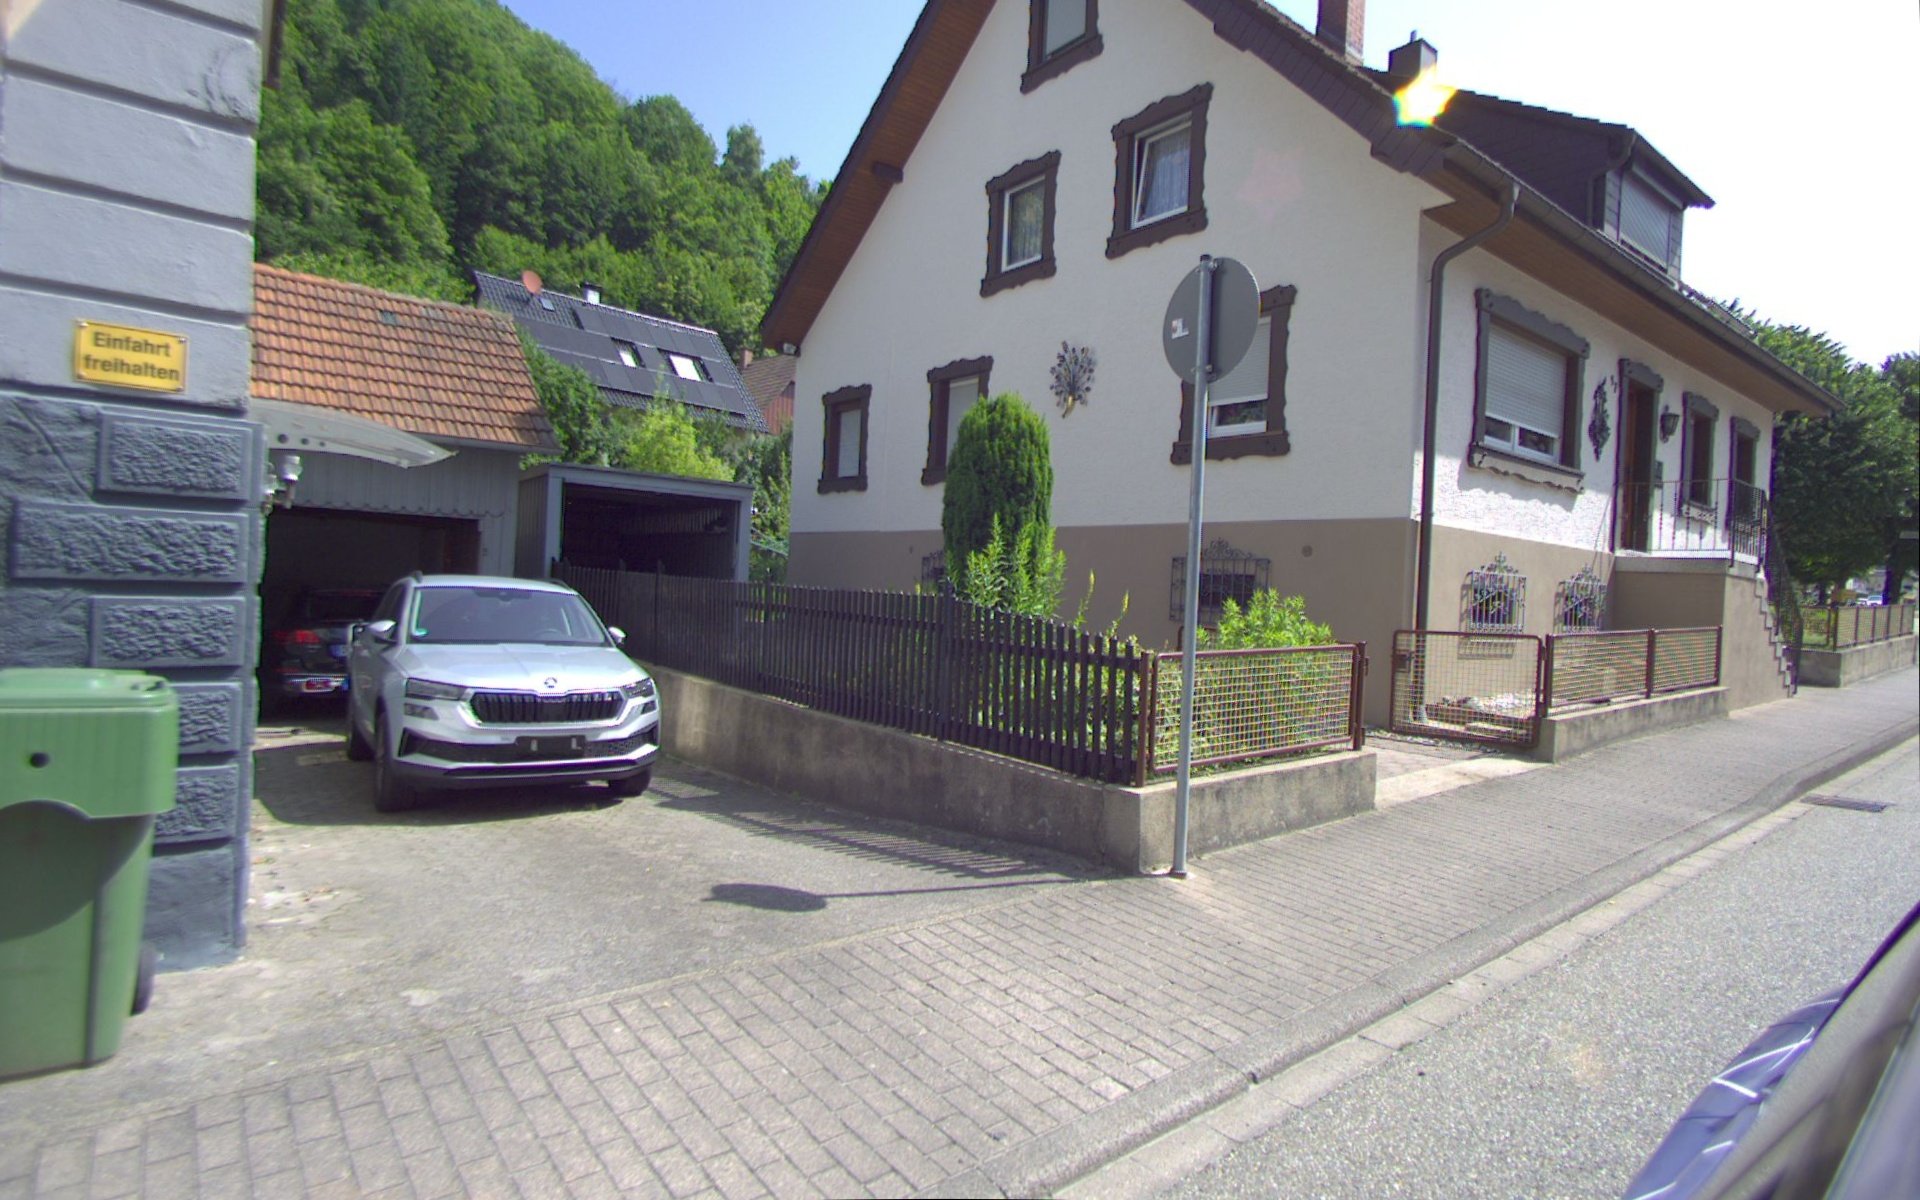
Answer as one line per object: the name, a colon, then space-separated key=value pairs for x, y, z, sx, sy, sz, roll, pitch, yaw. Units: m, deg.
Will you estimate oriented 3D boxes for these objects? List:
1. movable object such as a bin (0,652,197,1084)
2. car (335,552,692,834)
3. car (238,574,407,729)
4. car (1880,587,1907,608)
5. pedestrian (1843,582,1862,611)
movable object such as a bin: x=-2.586 y=0.706 z=2.914 sx=0.606 sy=1.033 sz=0.706 roll=0 pitch=2 yaw=-38
car: x=-3.684 y=0.553 z=7.926 sx=1.766 sy=1.610 sz=3.971 roll=0 pitch=-1 yaw=-36
car: x=-7.543 y=0.485 z=11.861 sx=1.351 sy=1.509 sz=3.236 roll=0 pitch=2 yaw=-38
car: x=96.892 y=-0.254 z=105.048 sx=1.994 sy=2.038 sz=3.937 roll=2 pitch=2 yaw=44
pedestrian: x=52.785 y=-0.211 z=59.851 sx=0.699 sy=1.691 sz=0.682 roll=1 pitch=3 yaw=-40
